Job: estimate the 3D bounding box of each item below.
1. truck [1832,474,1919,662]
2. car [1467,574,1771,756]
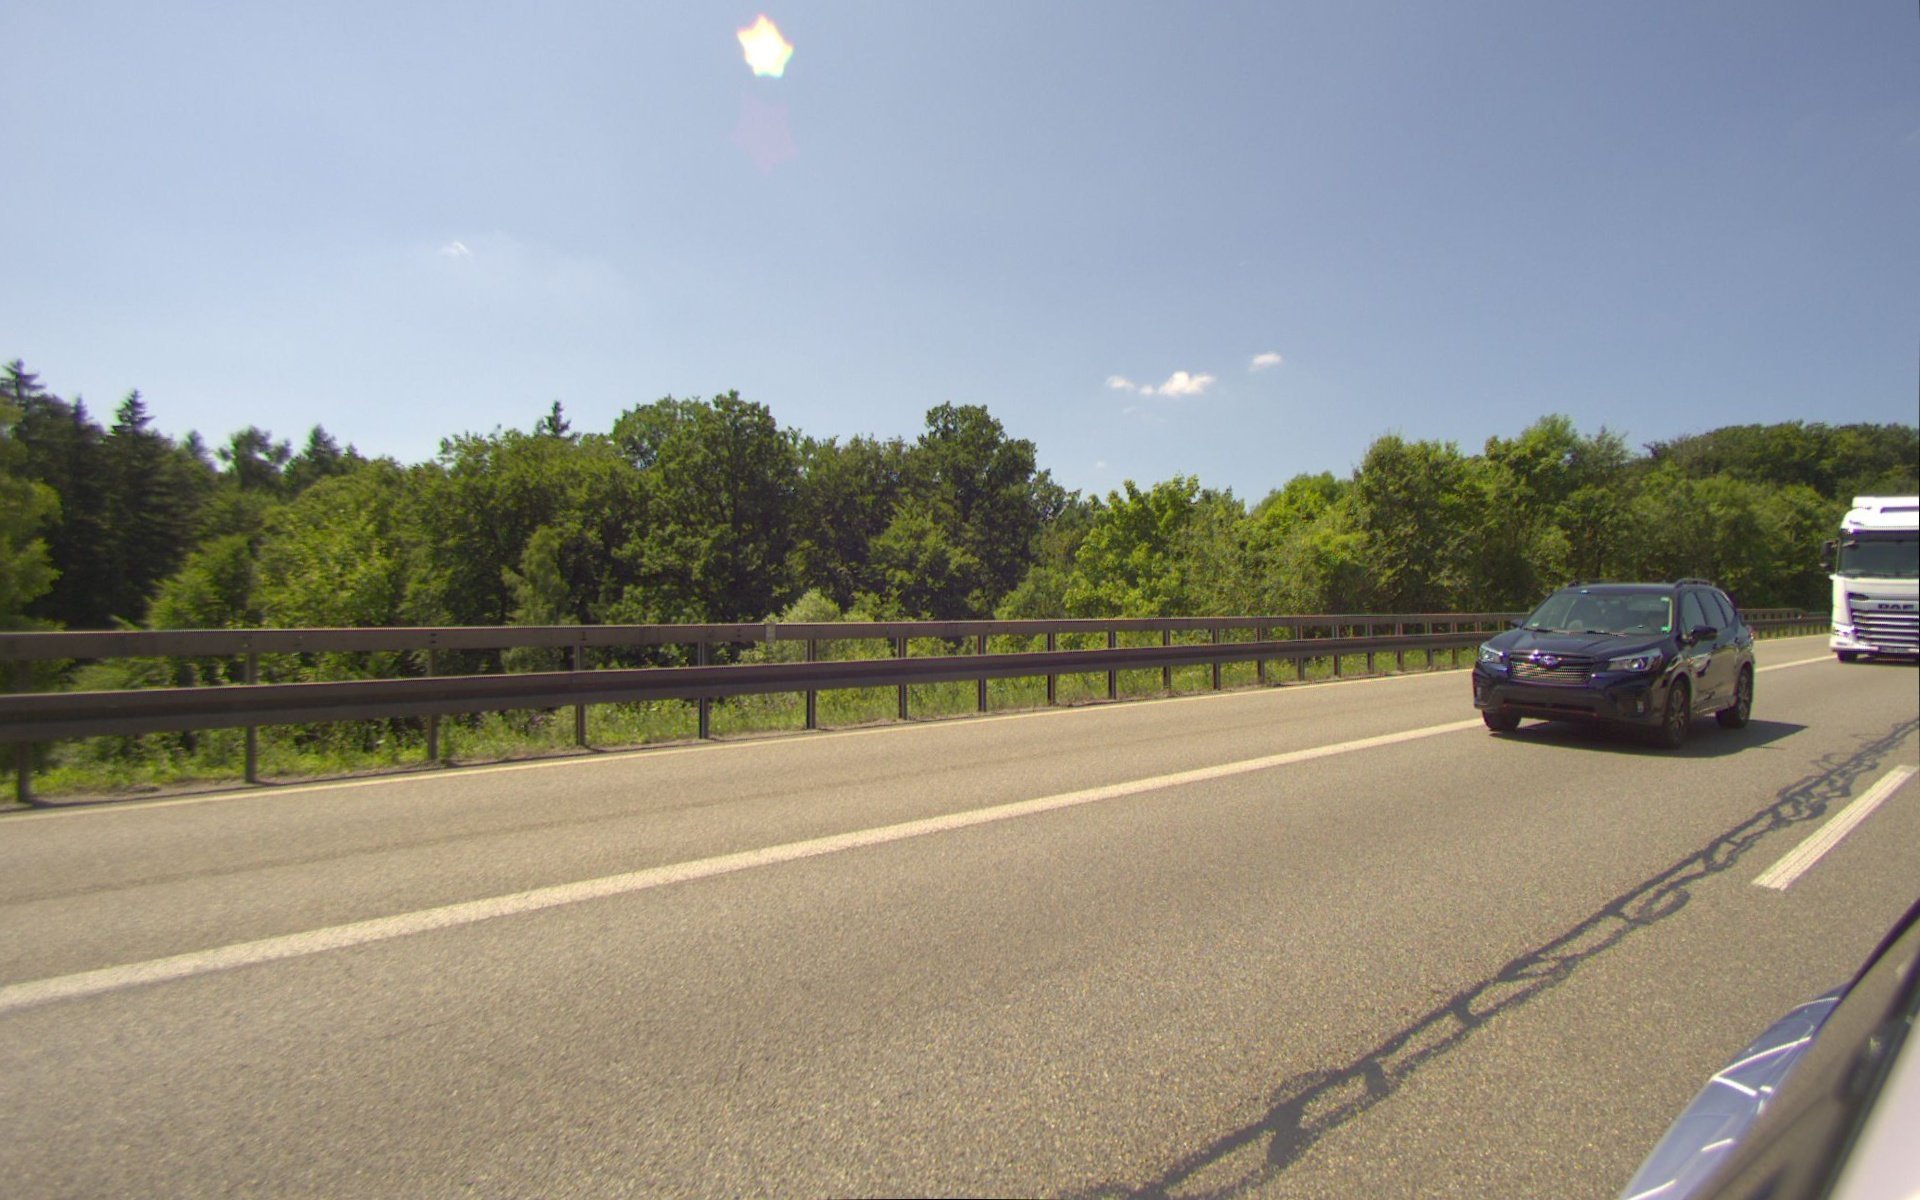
[{"bbox_3d":[27.563,-0.792,27.920,15.979,4.221,2.788,-1,0,-40],"label":"truck"},{"bbox_3d":[7.533,0.578,11.412,4.130,1.688,1.815,-1,0,-41],"label":"car"}]
